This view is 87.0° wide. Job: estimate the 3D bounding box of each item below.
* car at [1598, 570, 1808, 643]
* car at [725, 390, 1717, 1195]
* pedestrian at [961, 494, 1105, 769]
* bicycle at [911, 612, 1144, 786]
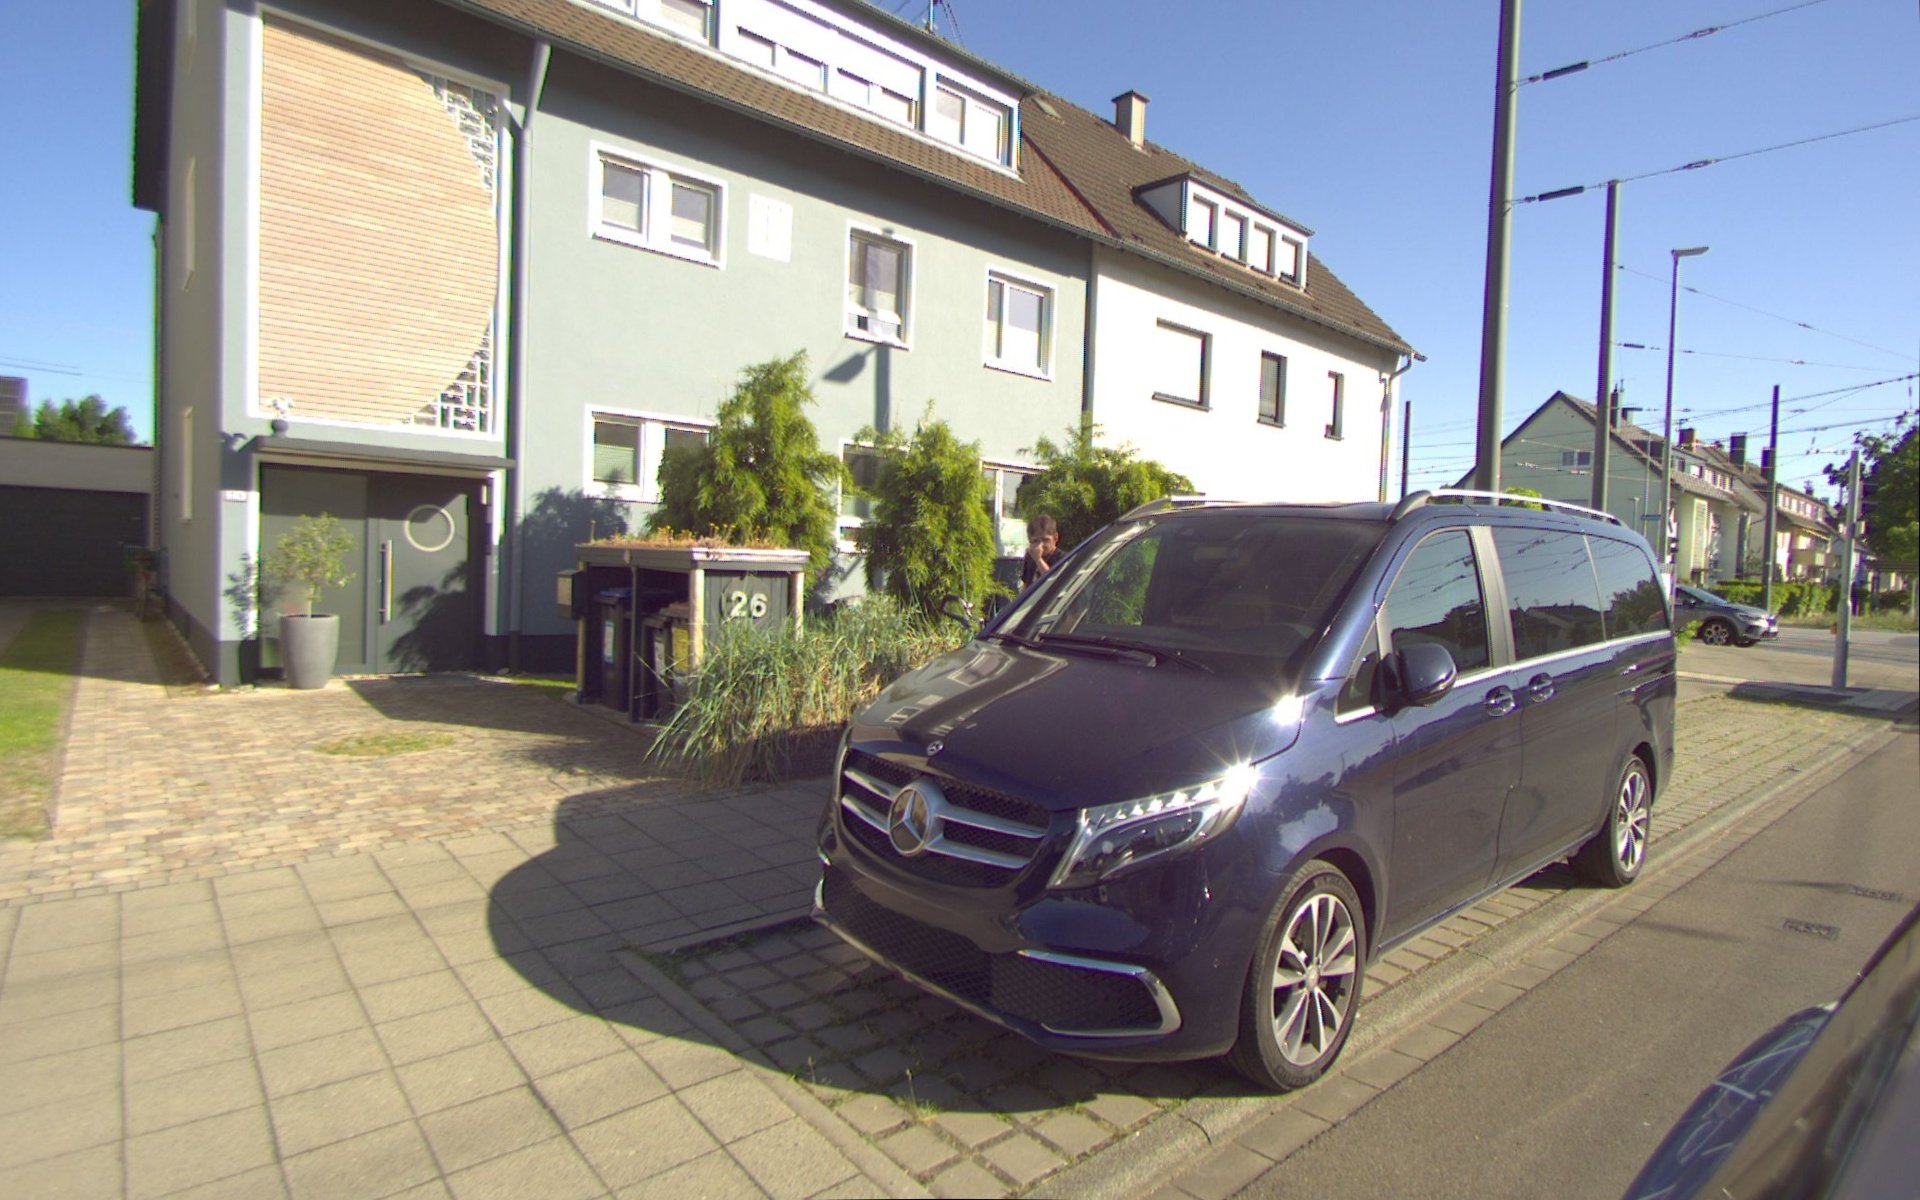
[{"bbox_3d":[19.146,0.114,26.244,1.796,1.598,4.001,0,3,-36],"label":"car"},{"bbox_3d":[1.594,0.390,4.656,4.840,1.858,1.966,0,3,-41],"label":"car"},{"bbox_3d":[0.489,0.186,6.842,0.701,1.744,0.584,0,3,-39],"label":"pedestrian"},{"bbox_3d":[0.482,0.612,6.867,1.534,0.991,0.602,0,5,-39],"label":"bicycle"}]
